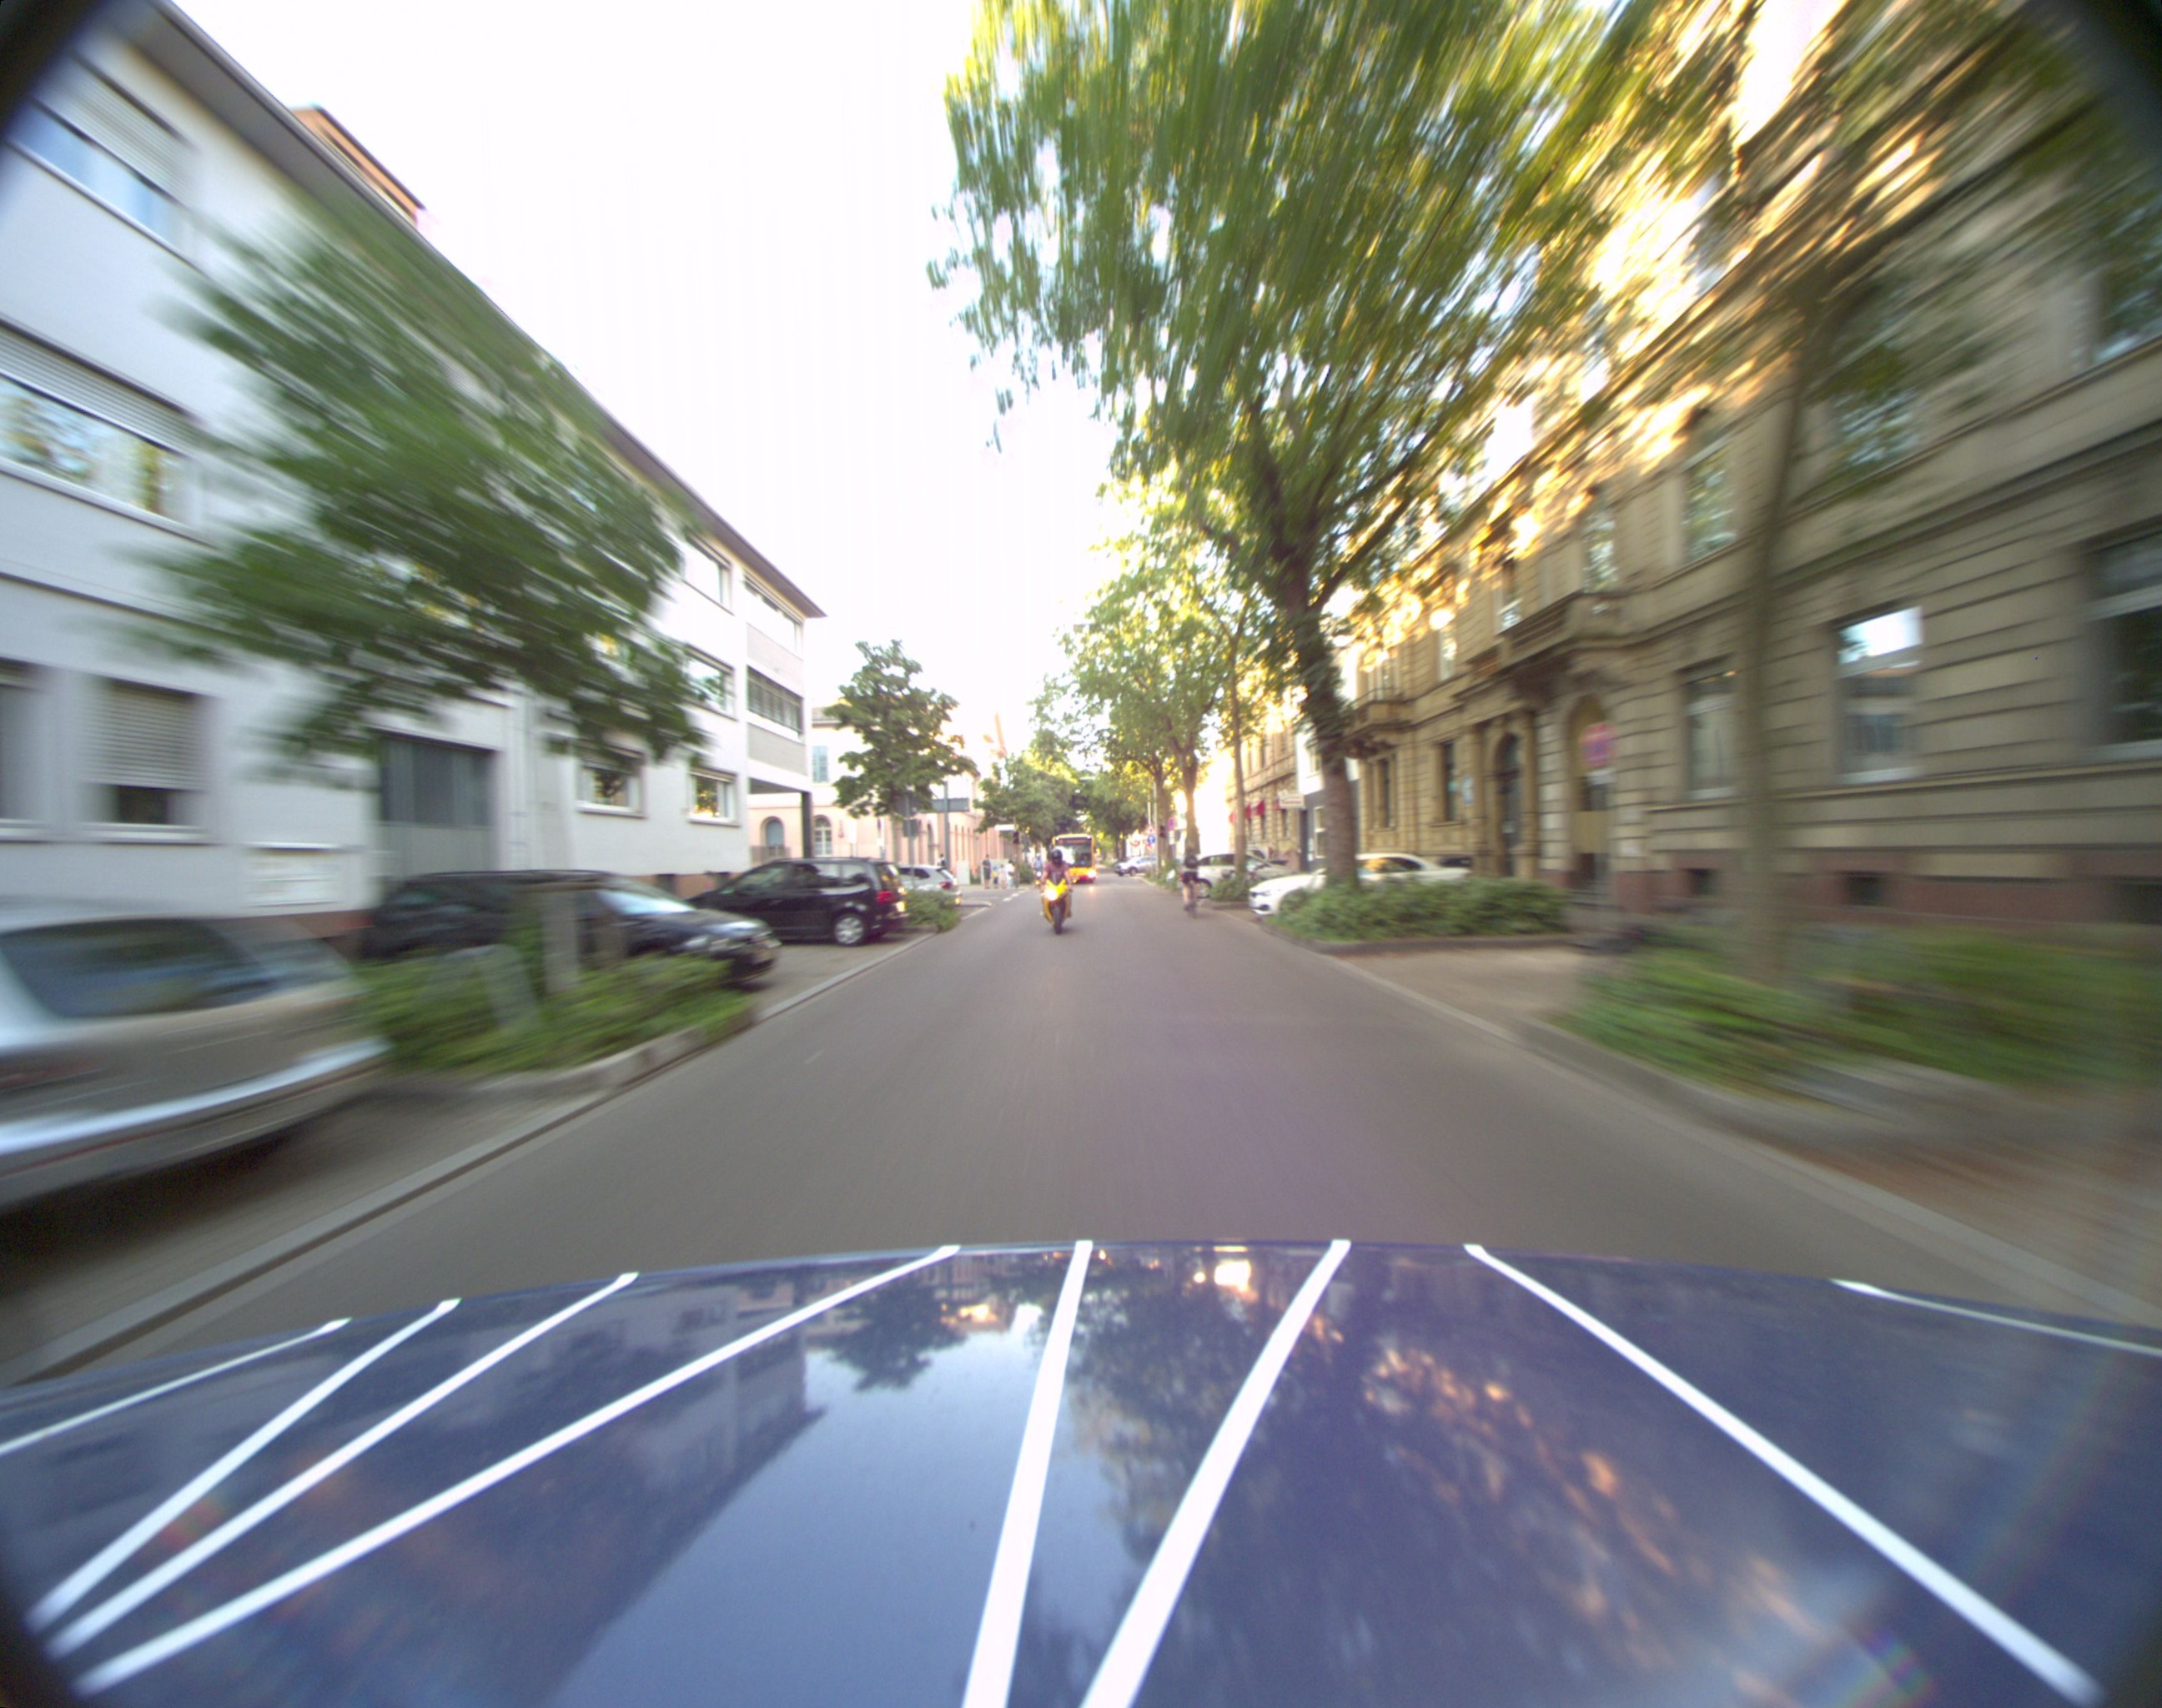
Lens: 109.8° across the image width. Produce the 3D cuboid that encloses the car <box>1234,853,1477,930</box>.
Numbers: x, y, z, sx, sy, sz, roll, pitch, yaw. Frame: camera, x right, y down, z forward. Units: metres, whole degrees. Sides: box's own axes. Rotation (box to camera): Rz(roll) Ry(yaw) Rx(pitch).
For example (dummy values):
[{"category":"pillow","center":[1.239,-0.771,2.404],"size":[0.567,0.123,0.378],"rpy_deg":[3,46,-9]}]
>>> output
[{"category":"car","center":[5.736,0.760,16.336],"size":[4.524,1.382,1.916],"rpy_deg":[-2,1,2]}]

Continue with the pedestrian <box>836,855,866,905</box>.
[{"category":"pedestrian","center":[-8.528,0.952,28.199],"size":[0.699,1.785,1.065],"rpy_deg":[-1,0,2]}]

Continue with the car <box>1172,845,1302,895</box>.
[{"category":"car","center":[5.375,0.551,26.599],"size":[4.180,1.548,1.827],"rpy_deg":[-2,0,4]}]

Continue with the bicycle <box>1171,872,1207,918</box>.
[{"category":"bicycle","center":[2.556,0.959,18.200],"size":[0.673,0.988,1.759],"rpy_deg":[-1,0,3]}]

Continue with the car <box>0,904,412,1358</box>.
[{"category":"car","center":[-5.808,1.011,3.406],"size":[4.083,1.421,1.818],"rpy_deg":[2,1,3]}]

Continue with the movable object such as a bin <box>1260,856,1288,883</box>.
[{"category":"movable object such as a bin","center":[7.755,0.607,30.540],"size":[0.776,1.055,1.317],"rpy_deg":[-2,0,0]}]

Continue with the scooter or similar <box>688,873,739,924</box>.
[{"category":"scooter or similar","center":[-9.354,1.111,19.396],"size":[0.346,1.232,1.422],"rpy_deg":[-2,0,11]}]

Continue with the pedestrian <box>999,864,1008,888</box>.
[{"category":"pedestrian","center":[-4.113,1.147,40.133],"size":[0.451,1.254,0.490],"rpy_deg":[0,0,-5]}]

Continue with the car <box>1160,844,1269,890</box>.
[{"category":"car","center":[5.927,0.578,34.110],"size":[4.436,1.712,1.890],"rpy_deg":[-4,0,-1]}]

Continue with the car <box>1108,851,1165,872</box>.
[{"category":"car","center":[4.575,0.590,62.319],"size":[4.367,1.561,1.943],"rpy_deg":[-2,1,-35]}]

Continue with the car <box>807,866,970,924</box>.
[{"category":"car","center":[-5.261,1.110,21.077],"size":[3.996,1.429,1.794],"rpy_deg":[-2,0,2]}]

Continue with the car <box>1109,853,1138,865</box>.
[{"category":"car","center":[6.323,0.694,113.824],"size":[3.999,1.699,1.844],"rpy_deg":[-2,0,-7]}]

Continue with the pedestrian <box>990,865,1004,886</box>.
[{"category":"pedestrian","center":[-4.502,1.147,40.695],"size":[0.491,1.138,0.547],"rpy_deg":[1,1,38]}]

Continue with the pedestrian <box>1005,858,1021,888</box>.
[{"category":"pedestrian","center":[-3.518,0.982,39.277],"size":[0.600,1.502,0.719],"rpy_deg":[0,1,-28]}]

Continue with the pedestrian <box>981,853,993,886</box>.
[{"category":"pedestrian","center":[-4.988,0.808,40.317],"size":[0.544,1.764,0.576],"rpy_deg":[0,1,2]}]

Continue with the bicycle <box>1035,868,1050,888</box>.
[{"category":"bicycle","center":[-2.014,1.286,40.303],"size":[0.637,0.977,1.981],"rpy_deg":[-4,0,-1]}]

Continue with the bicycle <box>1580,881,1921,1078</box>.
[{"category":"bicycle","center":[4.505,0.839,5.195],"size":[1.775,1.225,0.500],"rpy_deg":[-2,2,6]}]

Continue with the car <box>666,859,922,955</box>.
[{"category":"car","center":[-5.363,0.957,14.624],"size":[4.119,1.608,1.961],"rpy_deg":[-2,0,2]}]

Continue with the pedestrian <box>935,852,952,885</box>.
[{"category":"pedestrian","center":[-7.837,0.813,43.288],"size":[0.699,1.844,1.050],"rpy_deg":[0,0,3]}]

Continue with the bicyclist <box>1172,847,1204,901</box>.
[{"category":"bicyclist","center":[2.535,0.475,18.078],"size":[0.673,1.256,0.648],"rpy_deg":[-1,0,2]}]

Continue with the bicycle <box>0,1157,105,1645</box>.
[{"category":"bicycle","center":[-2.803,1.276,0.894],"size":[0.674,1.024,1.977],"rpy_deg":[-3,0,1]}]

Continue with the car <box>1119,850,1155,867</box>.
[{"category":"car","center":[6.824,0.592,92.818],"size":[3.999,1.940,1.999],"rpy_deg":[-2,0,-7]}]

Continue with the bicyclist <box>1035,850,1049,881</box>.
[{"category":"bicyclist","center":[-2.063,0.614,40.243],"size":[0.637,1.552,0.819],"rpy_deg":[-4,0,-1]}]

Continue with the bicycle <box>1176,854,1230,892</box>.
[{"category":"bicycle","center":[4.511,0.680,28.175],"size":[1.799,1.319,0.773],"rpy_deg":[-2,0,-5]}]

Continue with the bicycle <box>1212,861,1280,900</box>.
[{"category":"bicycle","center":[4.763,0.763,21.993],"size":[1.798,1.003,0.598],"rpy_deg":[-3,1,2]}]

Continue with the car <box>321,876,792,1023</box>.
[{"category":"car","center":[-5.947,1.048,9.025],"size":[4.326,1.487,1.794],"rpy_deg":[0,1,0]}]

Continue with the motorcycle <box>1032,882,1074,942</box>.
[{"category":"motorcycle","center":[-0.545,1.150,15.599],"size":[0.737,1.053,1.964],"rpy_deg":[-2,0,0]}]

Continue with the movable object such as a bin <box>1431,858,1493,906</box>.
[{"category":"movable object such as a bin","center":[9.261,0.659,18.507],"size":[0.802,1.055,1.317],"rpy_deg":[-4,0,0]}]

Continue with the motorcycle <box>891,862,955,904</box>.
[{"category":"motorcycle","center":[-5.491,1.007,26.510],"size":[1.910,1.384,1.000],"rpy_deg":[-1,1,14]}]

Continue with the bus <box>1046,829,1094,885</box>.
[{"category":"bus","center":[-0.575,0.176,51.131],"size":[2.668,3.176,11.898],"rpy_deg":[-3,0,1]}]

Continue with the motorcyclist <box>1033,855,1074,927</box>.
[{"category":"motorcyclist","center":[-0.557,0.747,15.630],"size":[0.737,1.404,0.726],"rpy_deg":[-2,0,0]}]

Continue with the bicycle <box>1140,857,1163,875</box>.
[{"category":"bicycle","center":[5.132,0.852,55.494],"size":[0.805,1.217,2.422],"rpy_deg":[-5,-3,25]}]
